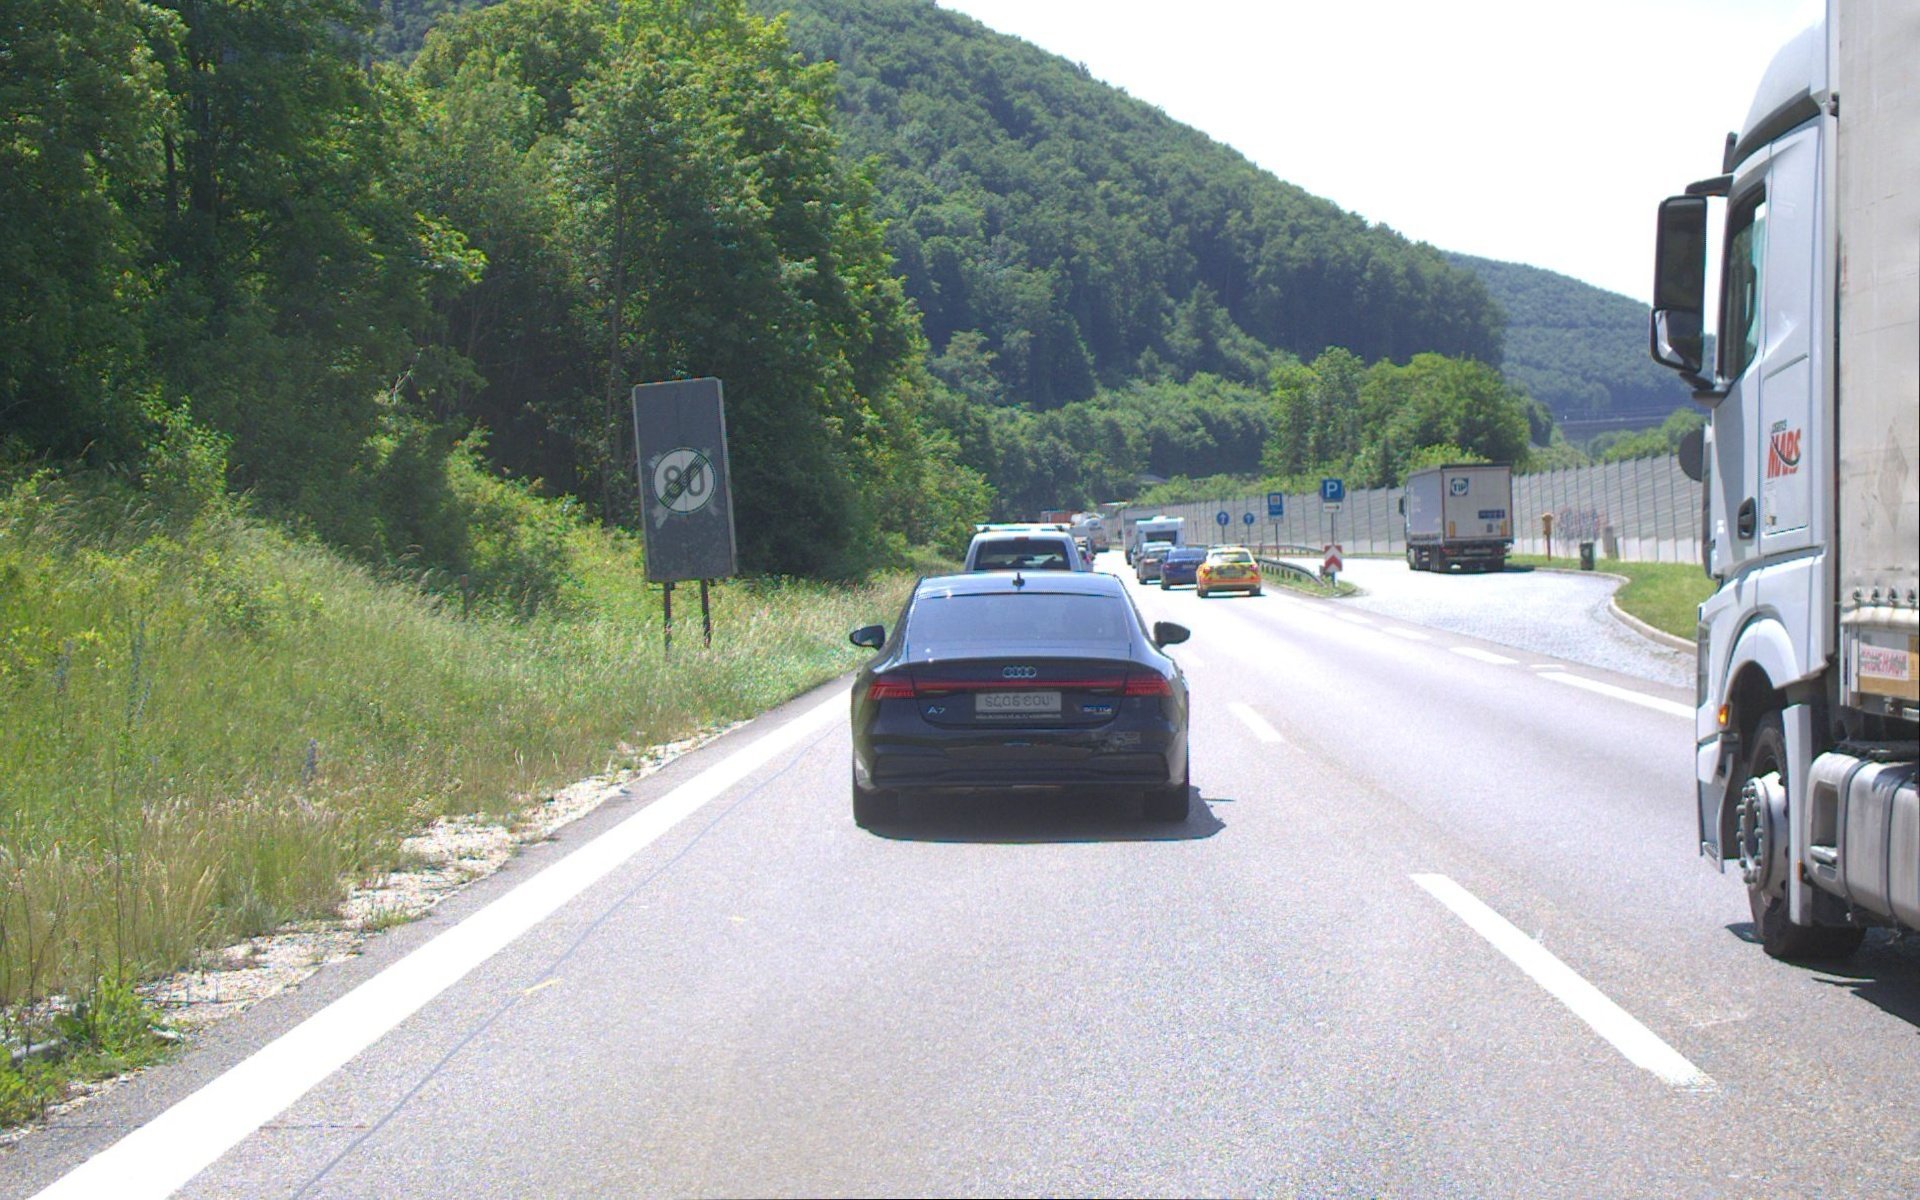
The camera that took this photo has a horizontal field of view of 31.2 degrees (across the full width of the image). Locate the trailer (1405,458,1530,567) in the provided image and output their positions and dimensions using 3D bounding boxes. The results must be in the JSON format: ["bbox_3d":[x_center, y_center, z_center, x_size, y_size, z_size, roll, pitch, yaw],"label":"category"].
[{"bbox_3d":[19.090,-3.254,129.904,3.412,3.887,11.151,-1,1,2],"label":"trailer"}]

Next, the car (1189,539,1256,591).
[{"bbox_3d":[7.867,-1.060,103.320,1.879,1.493,4.000,-1,1,3],"label":"car"}]

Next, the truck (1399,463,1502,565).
[{"bbox_3d":[19.291,-3.363,135.494,3.412,3.887,5.387,-1,1,2],"label":"truck"}]

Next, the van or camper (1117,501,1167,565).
[{"bbox_3d":[11.405,-4.170,215.609,2.795,3.894,6.167,1,0,0],"label":"van or camper"}]

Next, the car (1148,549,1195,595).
[{"bbox_3d":[7.218,-0.938,117.668,1.530,1.520,3.596,1,0,2],"label":"car"}]

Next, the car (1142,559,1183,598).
[{"bbox_3d":[8.072,-0.840,137.236,1.530,1.520,3.596,1,0,2],"label":"car"}]

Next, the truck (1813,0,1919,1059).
[{"bbox_3d":[4.234,-0.655,4.555,2.726,4.054,13.741,0,0,0],"label":"truck"}]

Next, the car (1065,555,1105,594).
[{"bbox_3d":[5.172,-1.040,141.734,1.521,1.548,3.514,2,0,4],"label":"car"}]

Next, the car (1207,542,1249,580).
[{"bbox_3d":[14.363,-2.091,184.520,1.993,2.007,4.000,0,1,2],"label":"car"}]

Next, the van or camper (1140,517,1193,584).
[{"bbox_3d":[10.011,-2.384,166.782,2.429,3.144,5.203,1,0,2],"label":"van or camper"}]

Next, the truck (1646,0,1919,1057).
[{"bbox_3d":[4.211,-0.669,11.358,2.719,4.054,5.754,0,0,0],"label":"truck"}]

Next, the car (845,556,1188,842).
[{"bbox_3d":[0.355,0.505,19.922,1.812,1.509,3.514,0,1,2],"label":"car"}]

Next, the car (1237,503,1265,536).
[{"bbox_3d":[18.516,-5.112,218.864,1.576,2.007,3.428,-1,1,3],"label":"car"}]

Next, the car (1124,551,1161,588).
[{"bbox_3d":[10.242,-1.697,193.231,1.993,2.007,4.000,1,0,2],"label":"car"}]

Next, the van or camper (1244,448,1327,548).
[{"bbox_3d":[13.205,-4.109,139.755,2.795,3.828,6.167,1,0,0],"label":"van or camper"}]

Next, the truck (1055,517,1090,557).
[{"bbox_3d":[7.617,-4.236,232.198,2.065,2.597,5.613,2,0,4],"label":"truck"}]

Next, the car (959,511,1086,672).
[{"bbox_3d":[0.815,-0.118,44.415,1.521,1.961,3.514,2,0,1],"label":"car"}]
